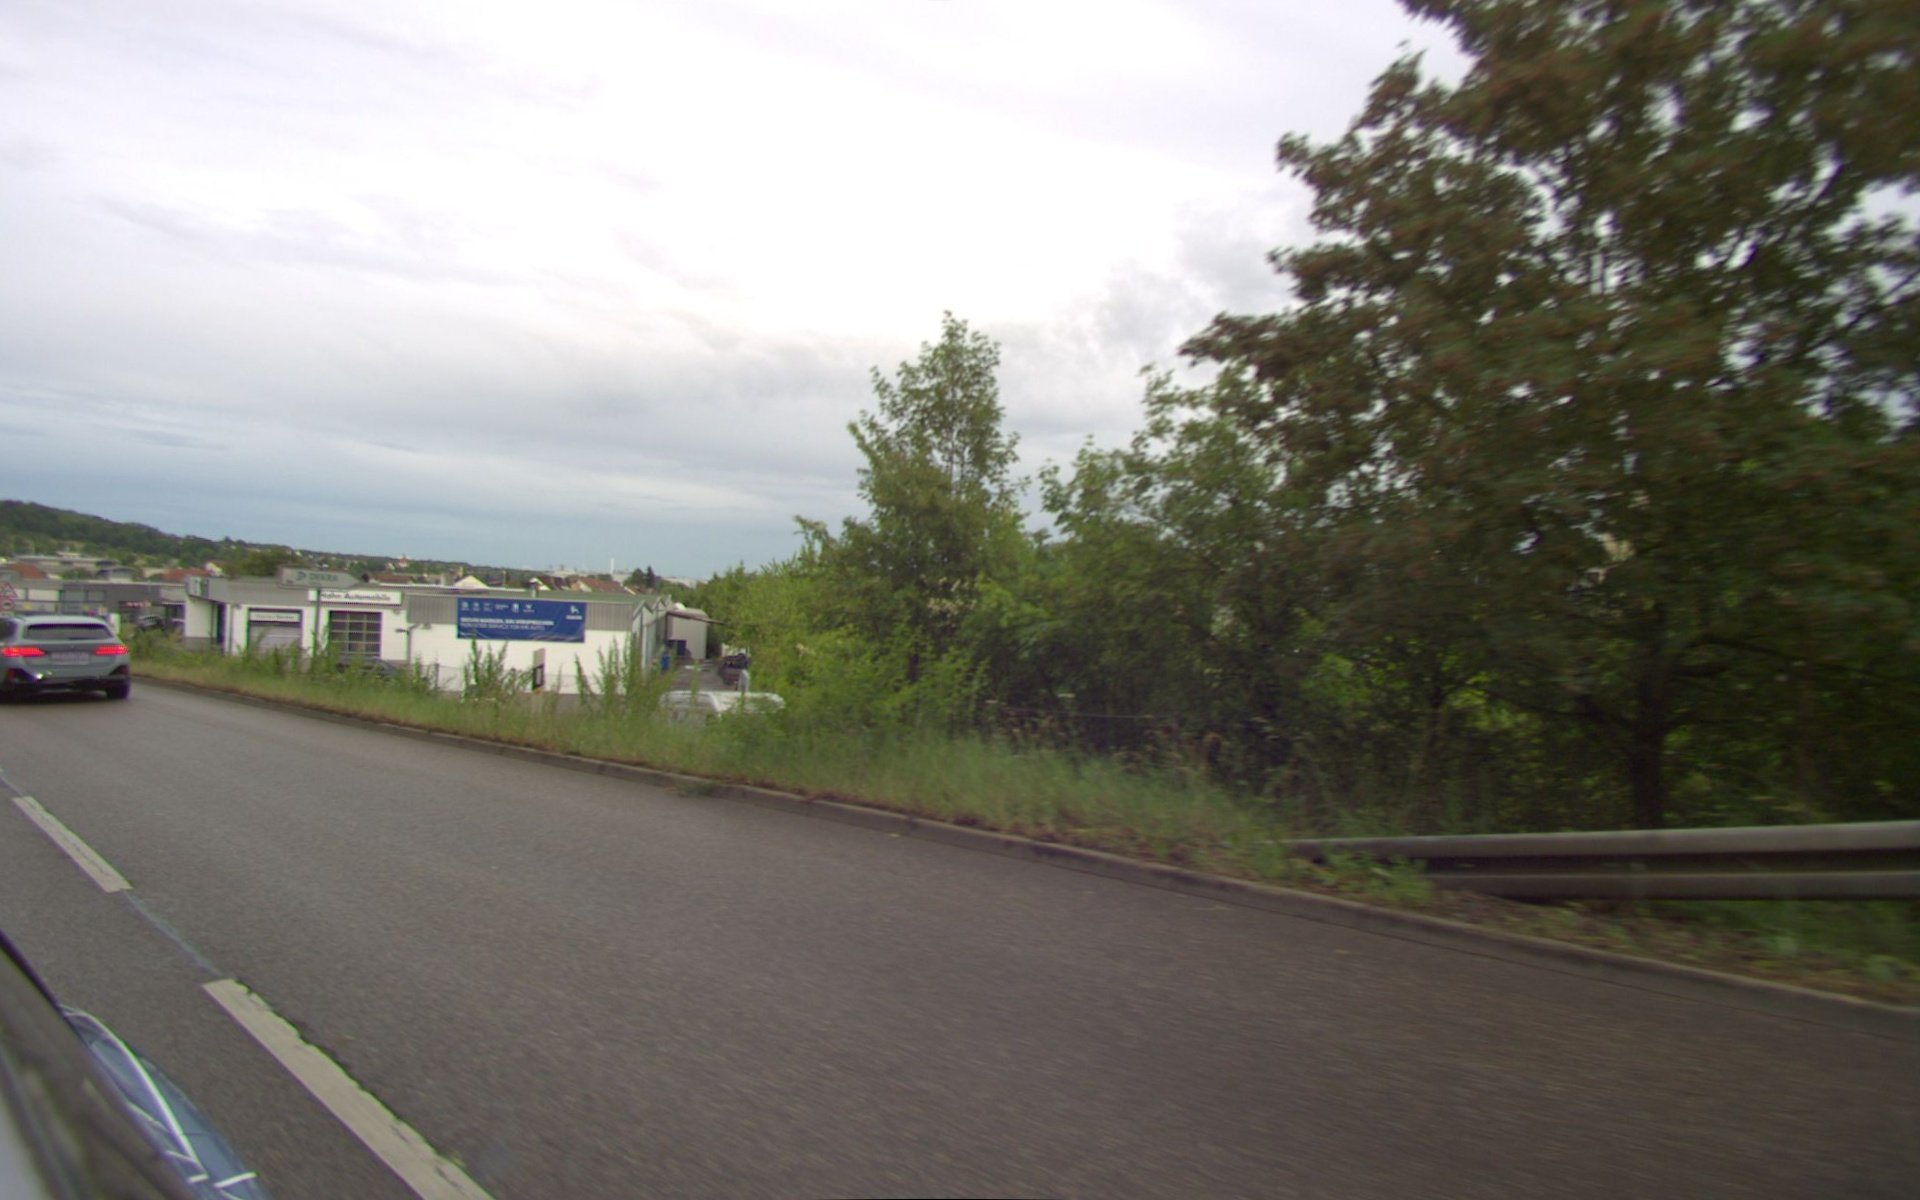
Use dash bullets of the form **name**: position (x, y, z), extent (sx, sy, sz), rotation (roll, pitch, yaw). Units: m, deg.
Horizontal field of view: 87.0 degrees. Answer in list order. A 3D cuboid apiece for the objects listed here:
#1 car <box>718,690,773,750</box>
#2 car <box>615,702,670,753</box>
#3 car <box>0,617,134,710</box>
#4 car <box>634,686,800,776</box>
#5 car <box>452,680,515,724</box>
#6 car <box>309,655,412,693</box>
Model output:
- **car**: position (-10.736, 5.849, 50.249), extent (1.951, 2.480, 6.615), rotation (5, -4, -17)
- **car**: position (-12.620, 5.028, 40.215), extent (1.836, 1.705, 4.655), rotation (5, -6, -18)
- **car**: position (-16.917, 1.069, 18.656), extent (4.725, 1.515, 1.842), rotation (-1, -1, 41)
- **car**: position (-5.706, 2.938, 23.270), extent (1.957, 1.704, 4.940), rotation (7, -7, -34)
- **car**: position (-21.536, 4.582, 45.918), extent (1.836, 1.817, 4.655), rotation (5, -6, -18)
- **car**: position (-34.157, 4.236, 57.802), extent (4.565, 1.817, 1.871), rotation (5, -6, -11)
